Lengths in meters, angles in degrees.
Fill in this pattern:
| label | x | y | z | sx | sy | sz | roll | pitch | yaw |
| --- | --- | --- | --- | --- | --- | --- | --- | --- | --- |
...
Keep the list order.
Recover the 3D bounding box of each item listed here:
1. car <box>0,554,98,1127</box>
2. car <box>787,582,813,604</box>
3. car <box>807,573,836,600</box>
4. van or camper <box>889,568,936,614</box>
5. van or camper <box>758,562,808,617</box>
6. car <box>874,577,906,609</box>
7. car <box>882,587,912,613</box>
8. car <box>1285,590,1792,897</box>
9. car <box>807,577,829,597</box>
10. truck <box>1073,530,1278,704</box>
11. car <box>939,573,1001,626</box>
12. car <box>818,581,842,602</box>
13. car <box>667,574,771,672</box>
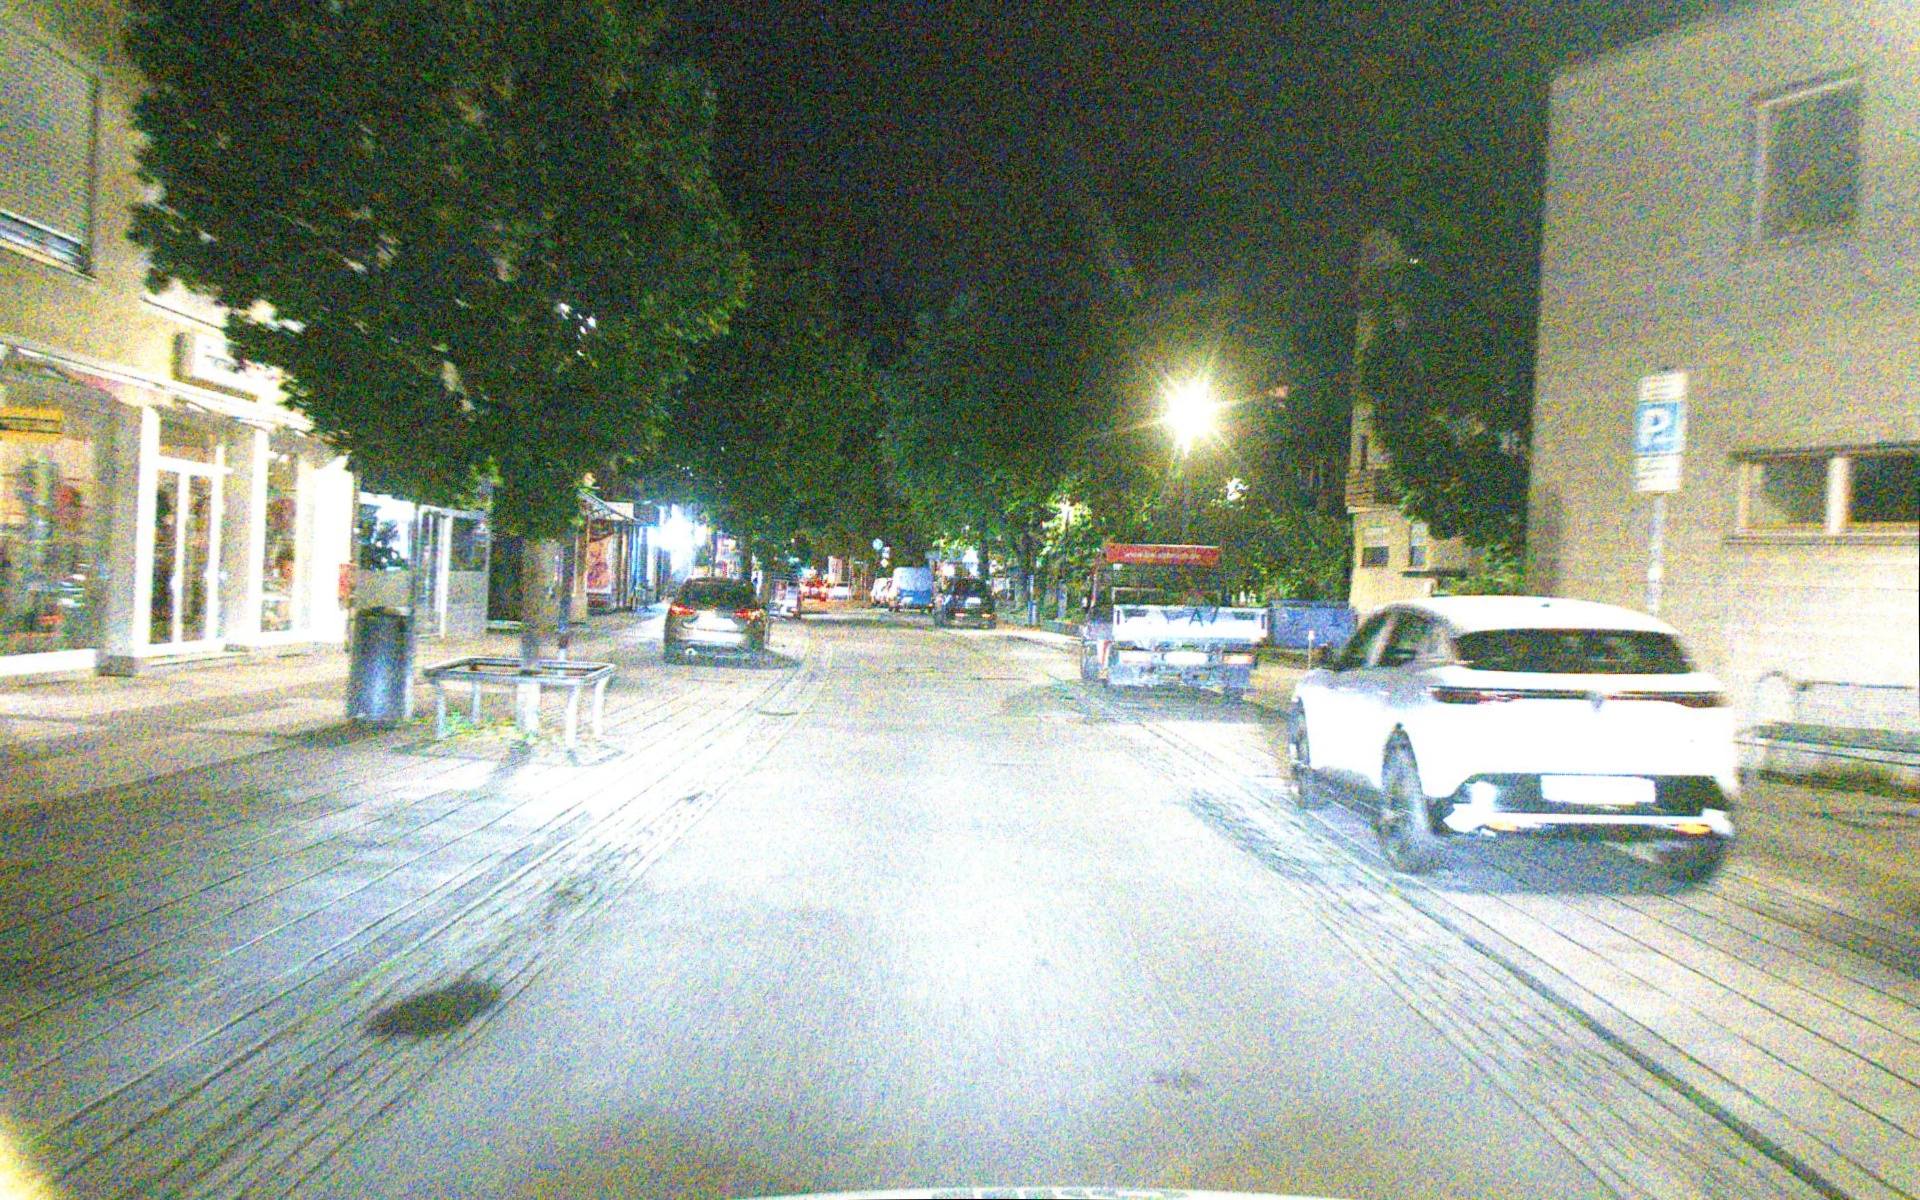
| label | x | y | z | sx | sy | sz | roll | pitch | yaw |
| --- | --- | --- | --- | --- | --- | --- | --- | --- | --- |
| car | -3.433 | 0.576 | 2.142 | 1.979 | 1.513 | 5.006 | 5 | 0 | -1 |
| car | -12.956 | -0.568 | 134.011 | 1.955 | 1.732 | 3.995 | 2 | 0 | -6 |
| car | -10.081 | -0.959 | 120.084 | 1.955 | 1.855 | 3.994 | 2 | 0 | -7 |
| van or camper | -2.536 | -0.484 | 87.162 | 2.068 | 2.357 | 4.255 | 1 | 1 | -7 |
| van or camper | -7.254 | -0.448 | 67.633 | 1.831 | 2.046 | 4.255 | 4 | 0 | -7 |
| car | -4.507 | -0.482 | 105.739 | 1.804 | 1.934 | 3.841 | 2 | 0 | -6 |
| car | -3.799 | -0.023 | 99.501 | 1.501 | 1.443 | 3.841 | 2 | 0 | -6 |
| car | 3.306 | 0.710 | 10.336 | 1.752 | 1.517 | 4.059 | 1 | 0 | 0 |
| car | -14.190 | -1.318 | 164.943 | 1.956 | 1.855 | 3.994 | 2 | 0 | -7 |
| truck | 3.181 | 0.213 | 25.831 | 2.289 | 2.352 | 5.779 | 1 | 0 | -1 |
| car | 0.331 | -0.041 | 61.284 | 1.780 | 1.860 | 4.341 | 2 | 0 | -7 |
| car | -10.429 | -0.706 | 132.950 | 1.804 | 1.569 | 3.841 | 2 | 0 | -6 |
| car | -4.307 | 0.365 | 30.061 | 1.641 | 1.570 | 4.225 | 3 | 0 | -6 |
